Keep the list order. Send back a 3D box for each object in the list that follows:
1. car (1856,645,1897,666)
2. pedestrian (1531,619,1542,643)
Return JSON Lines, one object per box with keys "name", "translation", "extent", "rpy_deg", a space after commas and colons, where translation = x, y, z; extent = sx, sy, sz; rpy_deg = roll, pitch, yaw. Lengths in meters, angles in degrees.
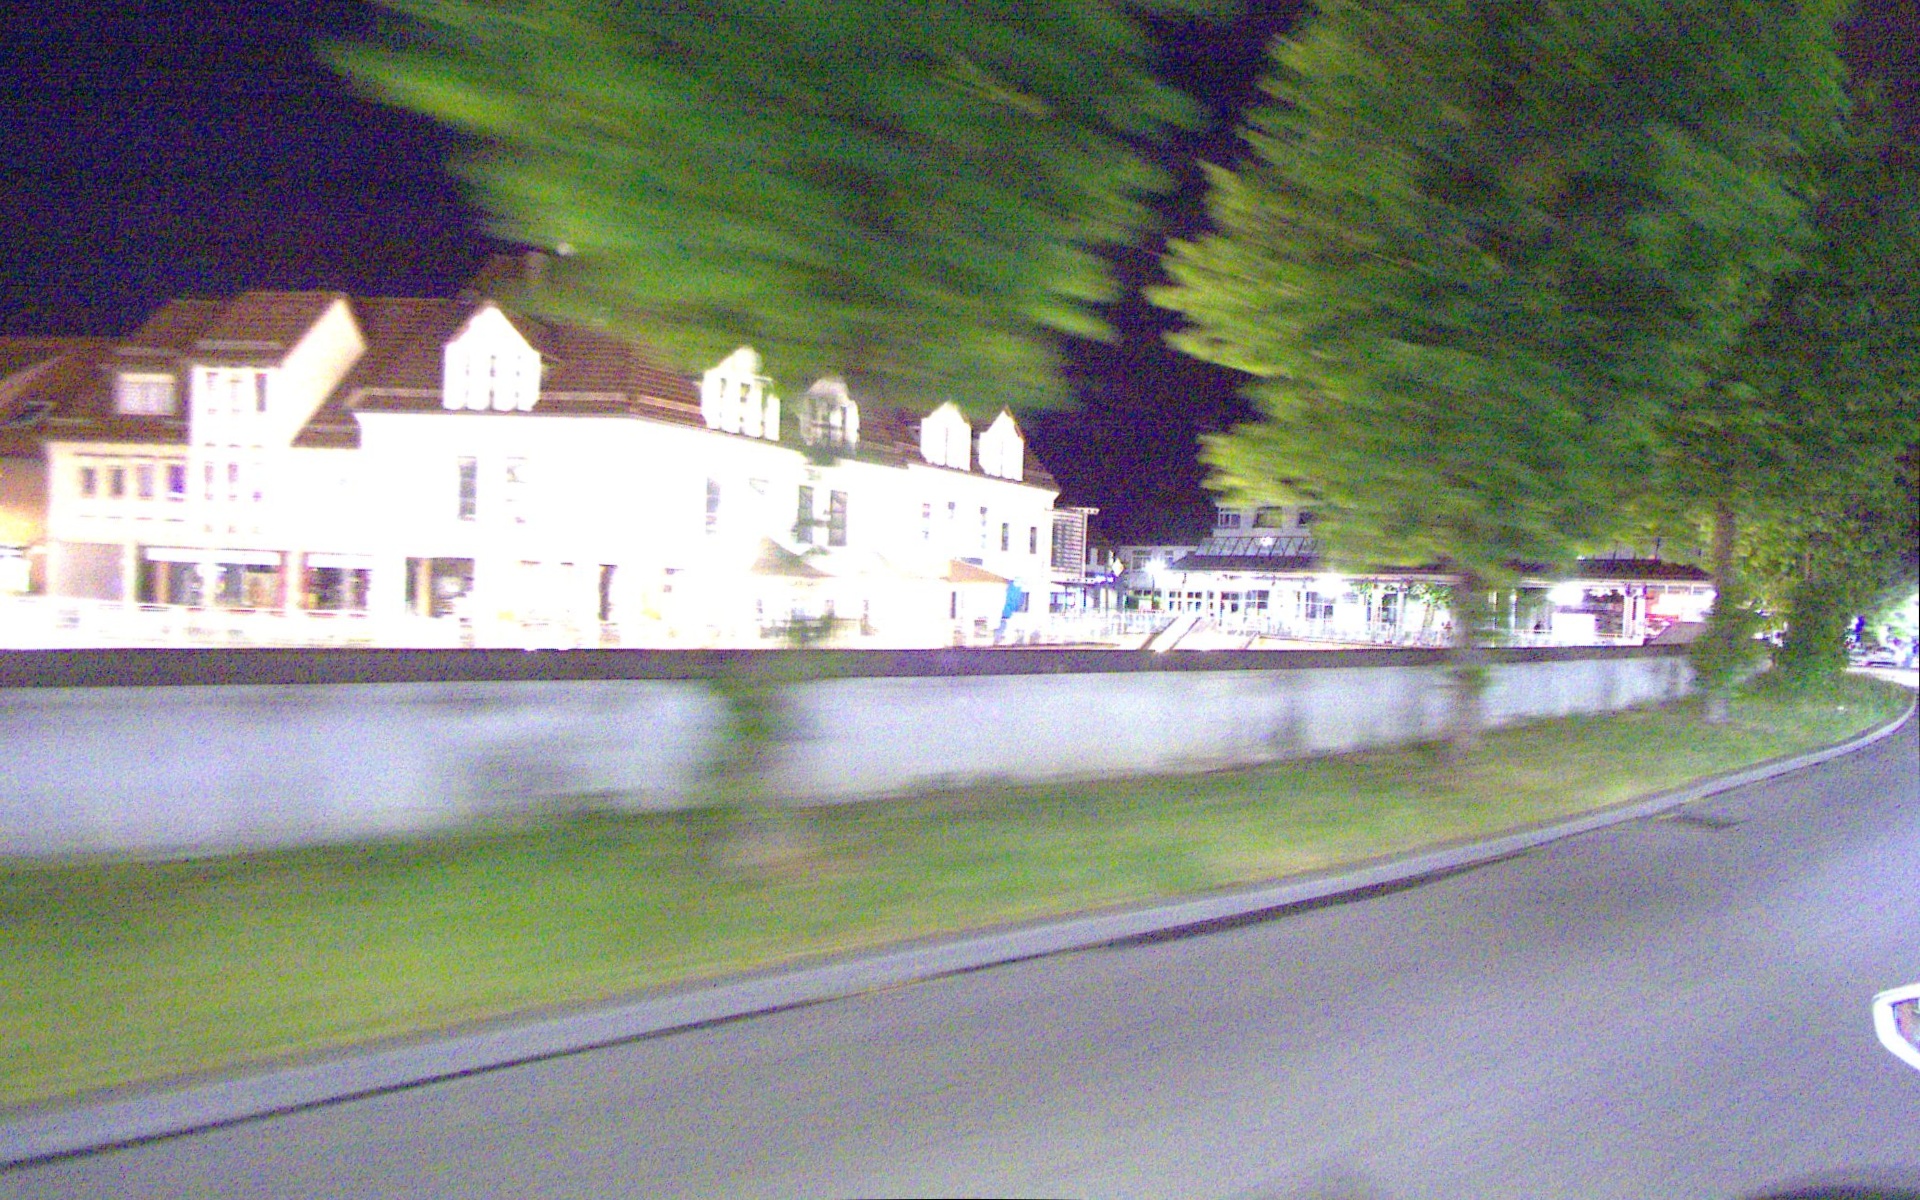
{"name": "car", "translation": [69.314, 4.202, 76.011], "extent": [1.809, 1.376, 3.987], "rpy_deg": [1, 0, 35]}
{"name": "pedestrian", "translation": [38.463, 2.074, 67.025], "extent": [0.450, 1.566, 0.482], "rpy_deg": [1, 0, 6]}
